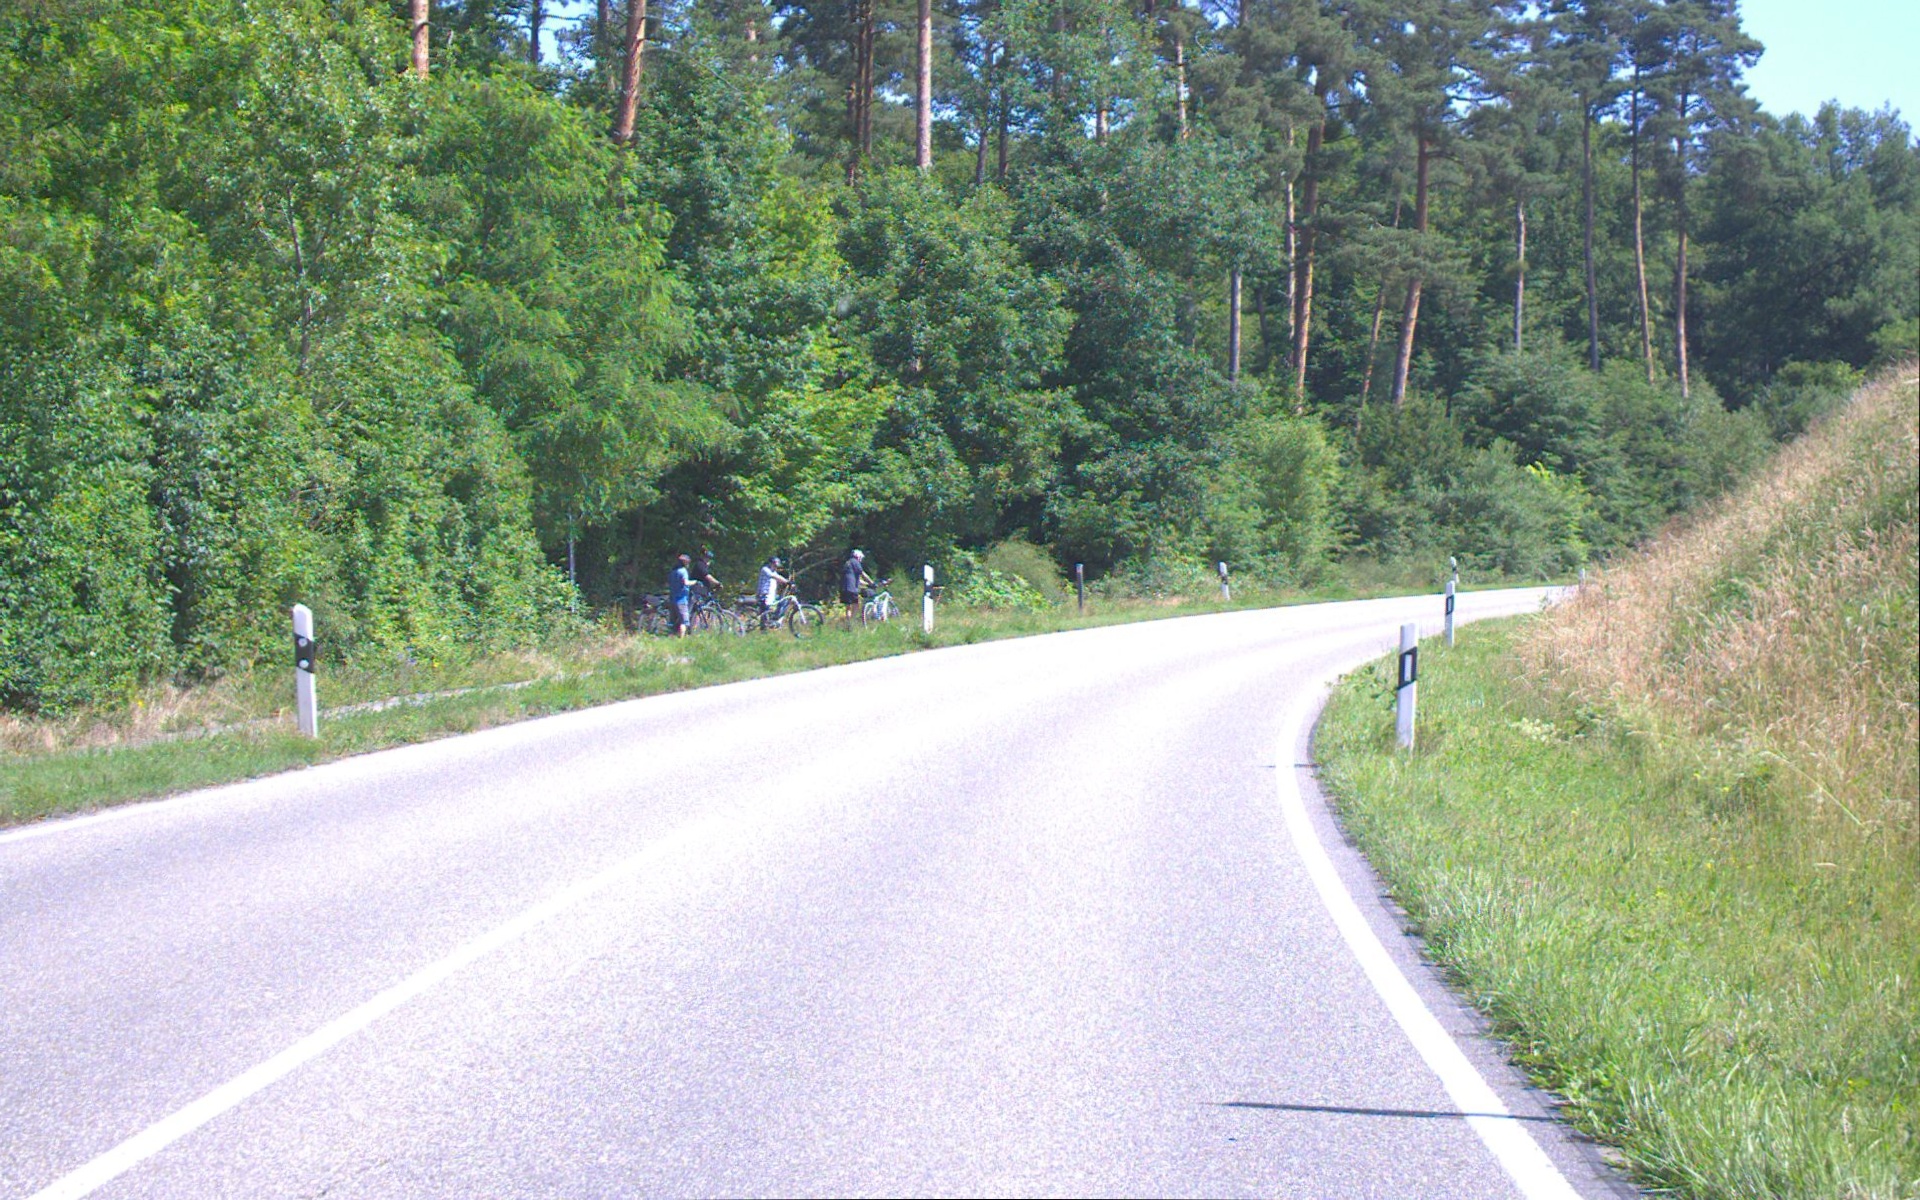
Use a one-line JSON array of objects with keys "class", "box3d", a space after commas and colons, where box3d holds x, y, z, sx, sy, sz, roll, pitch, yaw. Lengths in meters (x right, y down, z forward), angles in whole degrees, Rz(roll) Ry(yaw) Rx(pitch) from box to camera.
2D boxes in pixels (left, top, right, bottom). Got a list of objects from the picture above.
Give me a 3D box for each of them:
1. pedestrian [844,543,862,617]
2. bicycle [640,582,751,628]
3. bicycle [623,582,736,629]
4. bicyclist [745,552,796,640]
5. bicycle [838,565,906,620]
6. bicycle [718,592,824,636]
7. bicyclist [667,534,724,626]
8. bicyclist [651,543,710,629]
[{"class": "pedestrian", "box3d": [-2.232, -0.420, 71.775, 0.284, 1.533, 0.390, -1, 1, 9]}, {"class": "bicycle", "box3d": [-4.897, 0.099, 63.624, 1.978, 0.827, 0.606, 1, 0, -32]}, {"class": "bicycle", "box3d": [-5.085, 0.097, 62.473, 1.978, 0.827, 0.606, 1, 0, -32]}, {"class": "bicyclist", "box3d": [-3.715, -0.078, 67.352, 0.787, 1.713, 0.606, 1, 0, -25]}, {"class": "bicycle", "box3d": [-1.834, -0.163, 71.905, 0.582, 1.082, 1.444, 3, 4, 43]}, {"class": "bicycle", "box3d": [-3.701, 0.271, 67.370, 1.978, 0.827, 0.606, 1, 0, -25]}, {"class": "bicyclist", "box3d": [-4.892, -0.367, 63.616, 0.848, 1.695, 0.606, 1, 0, -32]}, {"class": "bicyclist", "box3d": [-5.080, -0.251, 62.480, 0.868, 1.540, 0.606, 1, 0, -32]}]
